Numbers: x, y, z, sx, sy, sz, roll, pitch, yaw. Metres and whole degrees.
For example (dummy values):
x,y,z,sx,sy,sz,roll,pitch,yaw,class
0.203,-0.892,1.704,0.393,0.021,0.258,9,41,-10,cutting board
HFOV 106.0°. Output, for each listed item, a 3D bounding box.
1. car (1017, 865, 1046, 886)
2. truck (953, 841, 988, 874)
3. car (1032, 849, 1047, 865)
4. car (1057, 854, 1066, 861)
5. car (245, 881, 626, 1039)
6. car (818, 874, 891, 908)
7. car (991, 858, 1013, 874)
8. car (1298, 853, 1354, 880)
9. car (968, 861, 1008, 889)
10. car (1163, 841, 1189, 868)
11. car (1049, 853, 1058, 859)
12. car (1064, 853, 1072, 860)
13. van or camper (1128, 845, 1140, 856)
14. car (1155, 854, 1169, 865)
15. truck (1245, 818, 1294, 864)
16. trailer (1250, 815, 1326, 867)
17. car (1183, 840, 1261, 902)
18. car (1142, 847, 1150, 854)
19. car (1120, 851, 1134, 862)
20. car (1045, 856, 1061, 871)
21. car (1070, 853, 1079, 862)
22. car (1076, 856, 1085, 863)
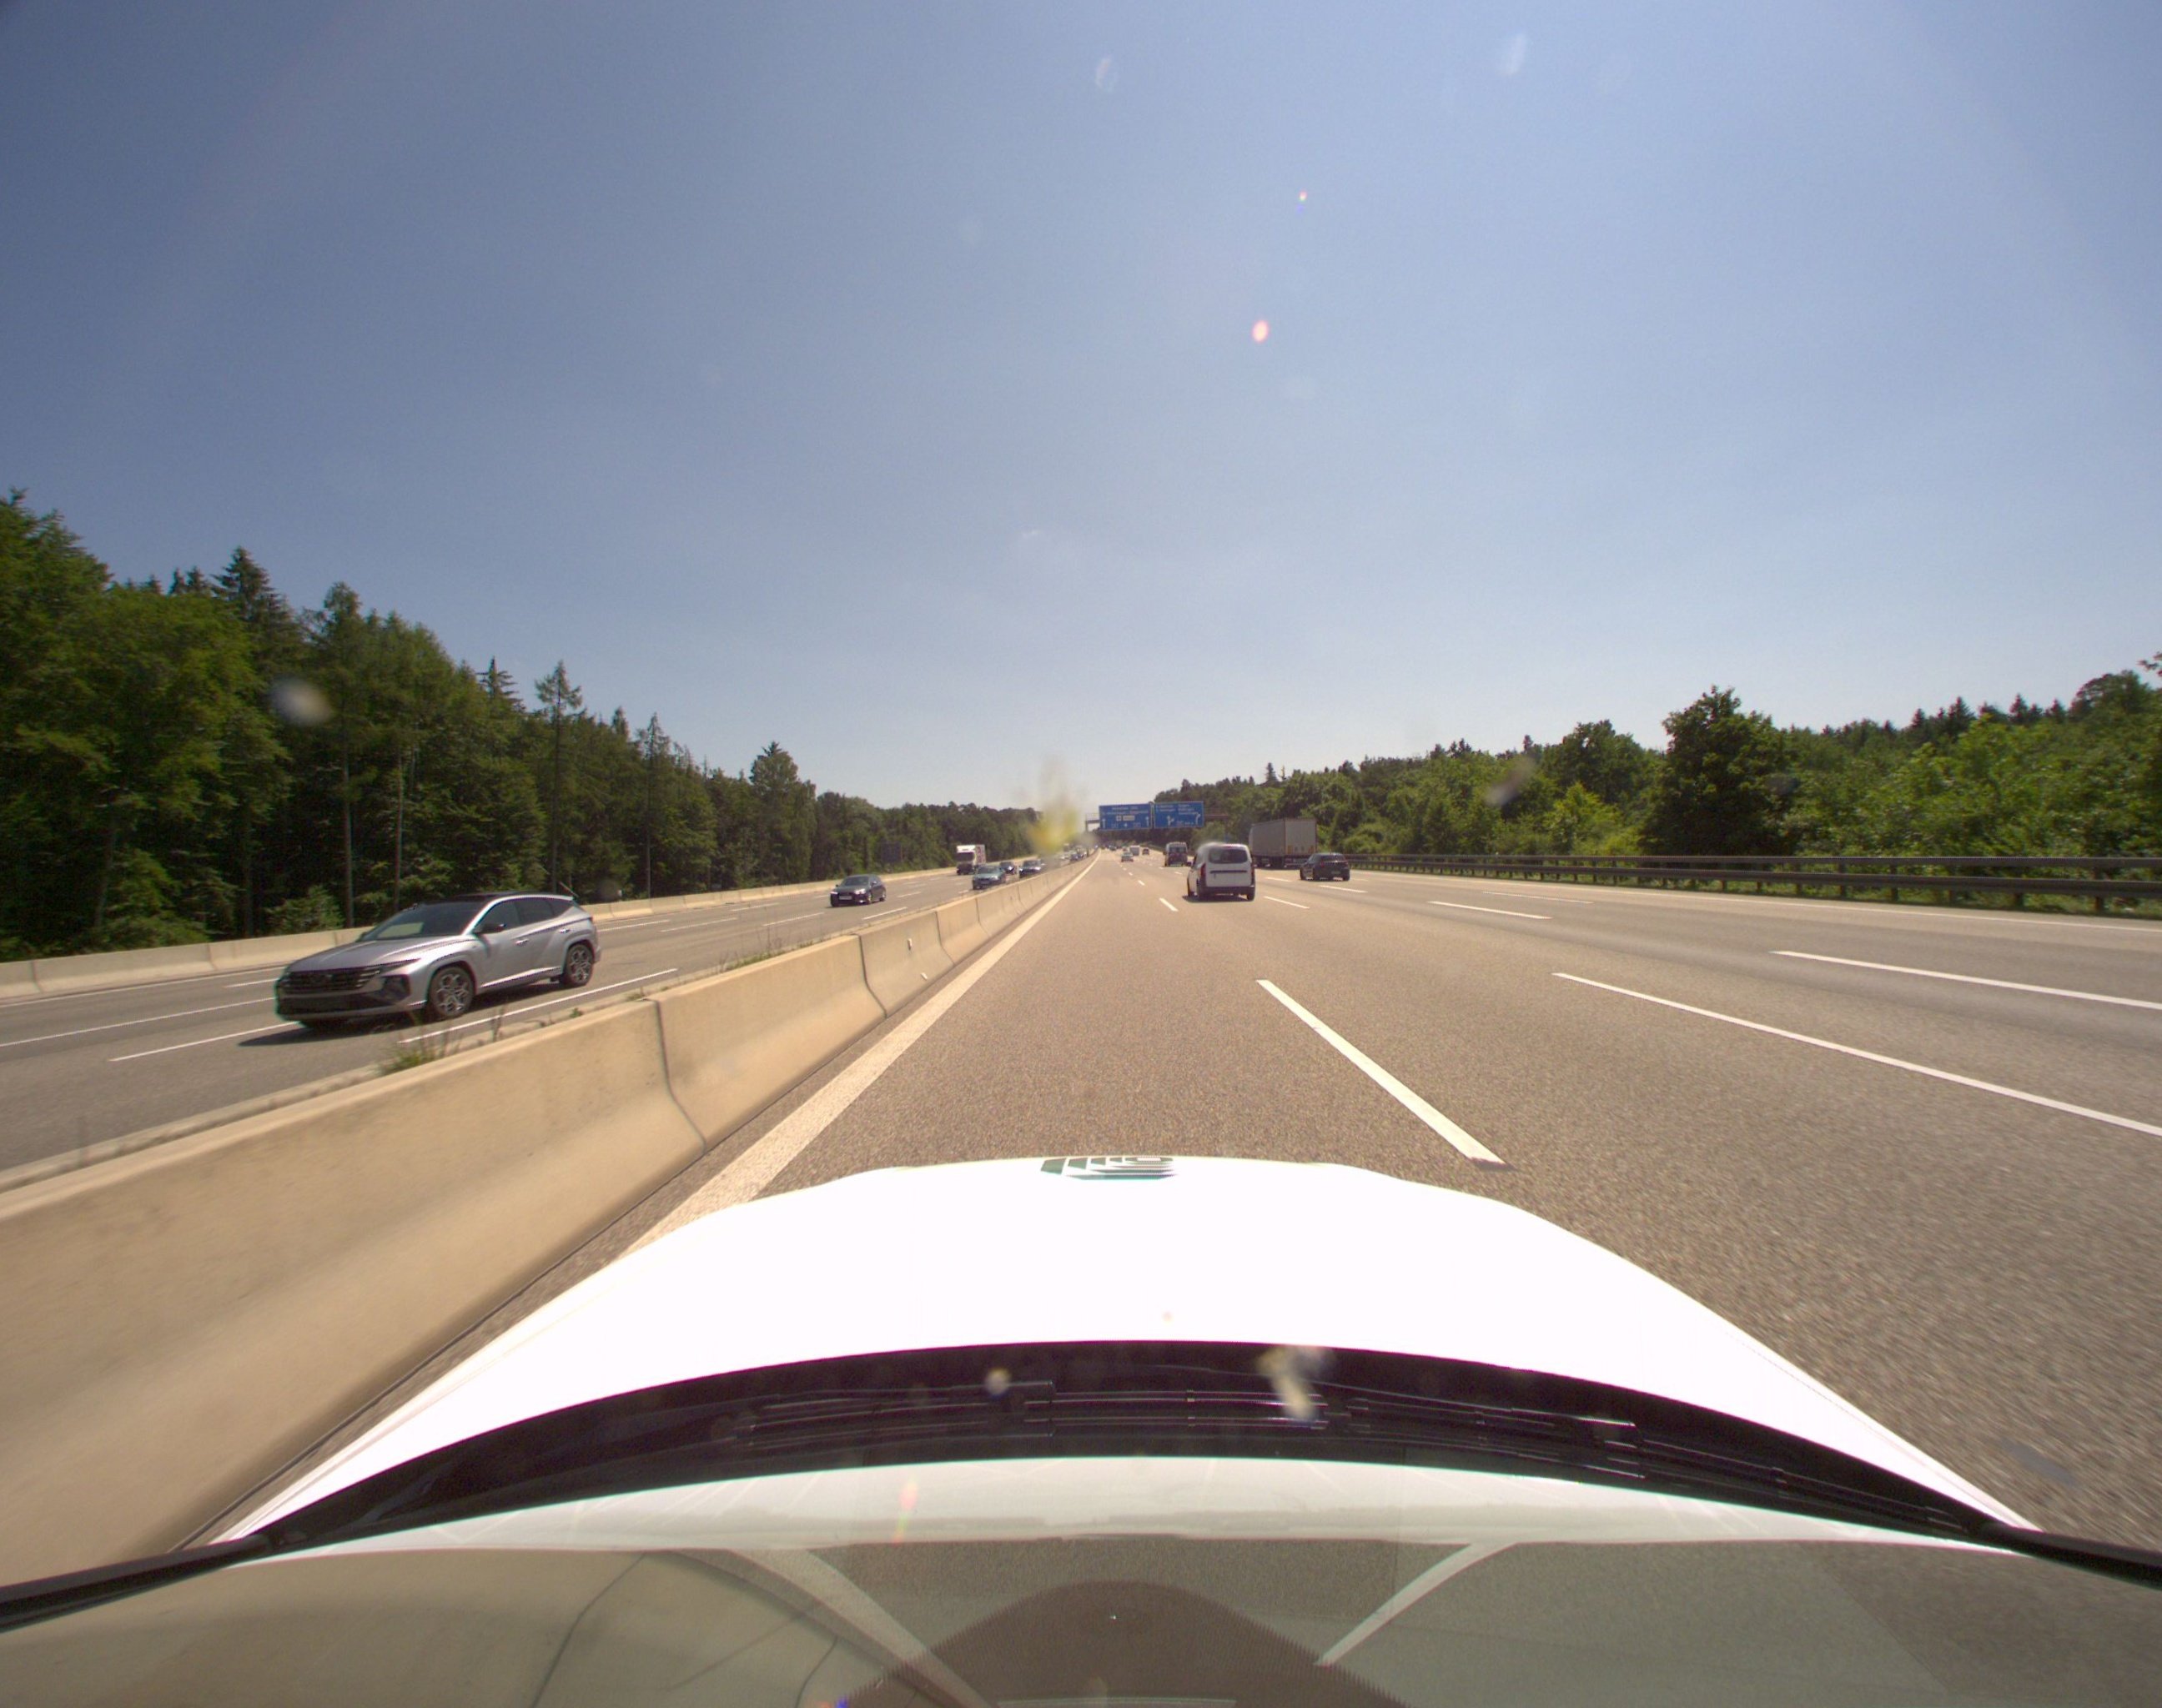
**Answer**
x,y,z,sx,sy,sz,roll,pitch,yaw,class
-3.818,1.653,63.791,1.746,1.377,4.493,-4,0,2,car
-14.396,0.495,106.916,2.709,3.939,10.239,-3,-1,2,truck
-7.134,0.517,141.705,1.923,2.607,7.233,-3,0,2,car
-4.343,0.855,183.766,1.672,1.444,4.528,-4,0,1,car
-9.349,1.403,12.442,1.962,1.724,4.513,-3,0,3,car
-10.840,1.744,39.438,1.915,1.349,5.047,-3,0,2,car
-8.390,1.286,86.994,1.711,1.449,4.909,-3,0,1,car
12.392,0.601,41.435,1.664,1.273,4.292,-1,0,2,car
-5.603,1.265,49.734,1.711,1.512,4.353,-3,0,2,car
10.150,0.055,87.071,2.135,2.652,5.712,-3,0,2,car
-7.231,0.567,212.161,1.985,1.306,4.847,-3,0,2,car
-3.269,0.615,203.710,1.672,1.444,3.995,-4,0,1,car
13.399,-0.830,205.036,2.635,2.539,6.504,-3,0,2,van or camper
12.420,0.835,125.645,1.811,1.640,4.002,-3,0,2,car
17.554,-1.206,76.306,3.242,4.106,5.990,-1,0,1,truck
17.435,-1.055,69.954,3.276,3.930,13.894,-1,0,1,trailer
4.629,0.540,27.421,1.853,1.826,4.613,-3,0,1,car
17.476,-0.936,218.330,1.814,1.859,4.002,-3,0,2,car
7.074,0.421,125.685,1.836,1.629,4.555,-3,-1,2,car
-3.361,1.087,98.298,1.608,1.662,3.851,-3,0,2,car
-1.265,0.726,163.695,1.698,1.662,3.761,-3,0,2,car
-0.094,1.366,200.075,1.863,1.606,5.231,-4,0,2,car
